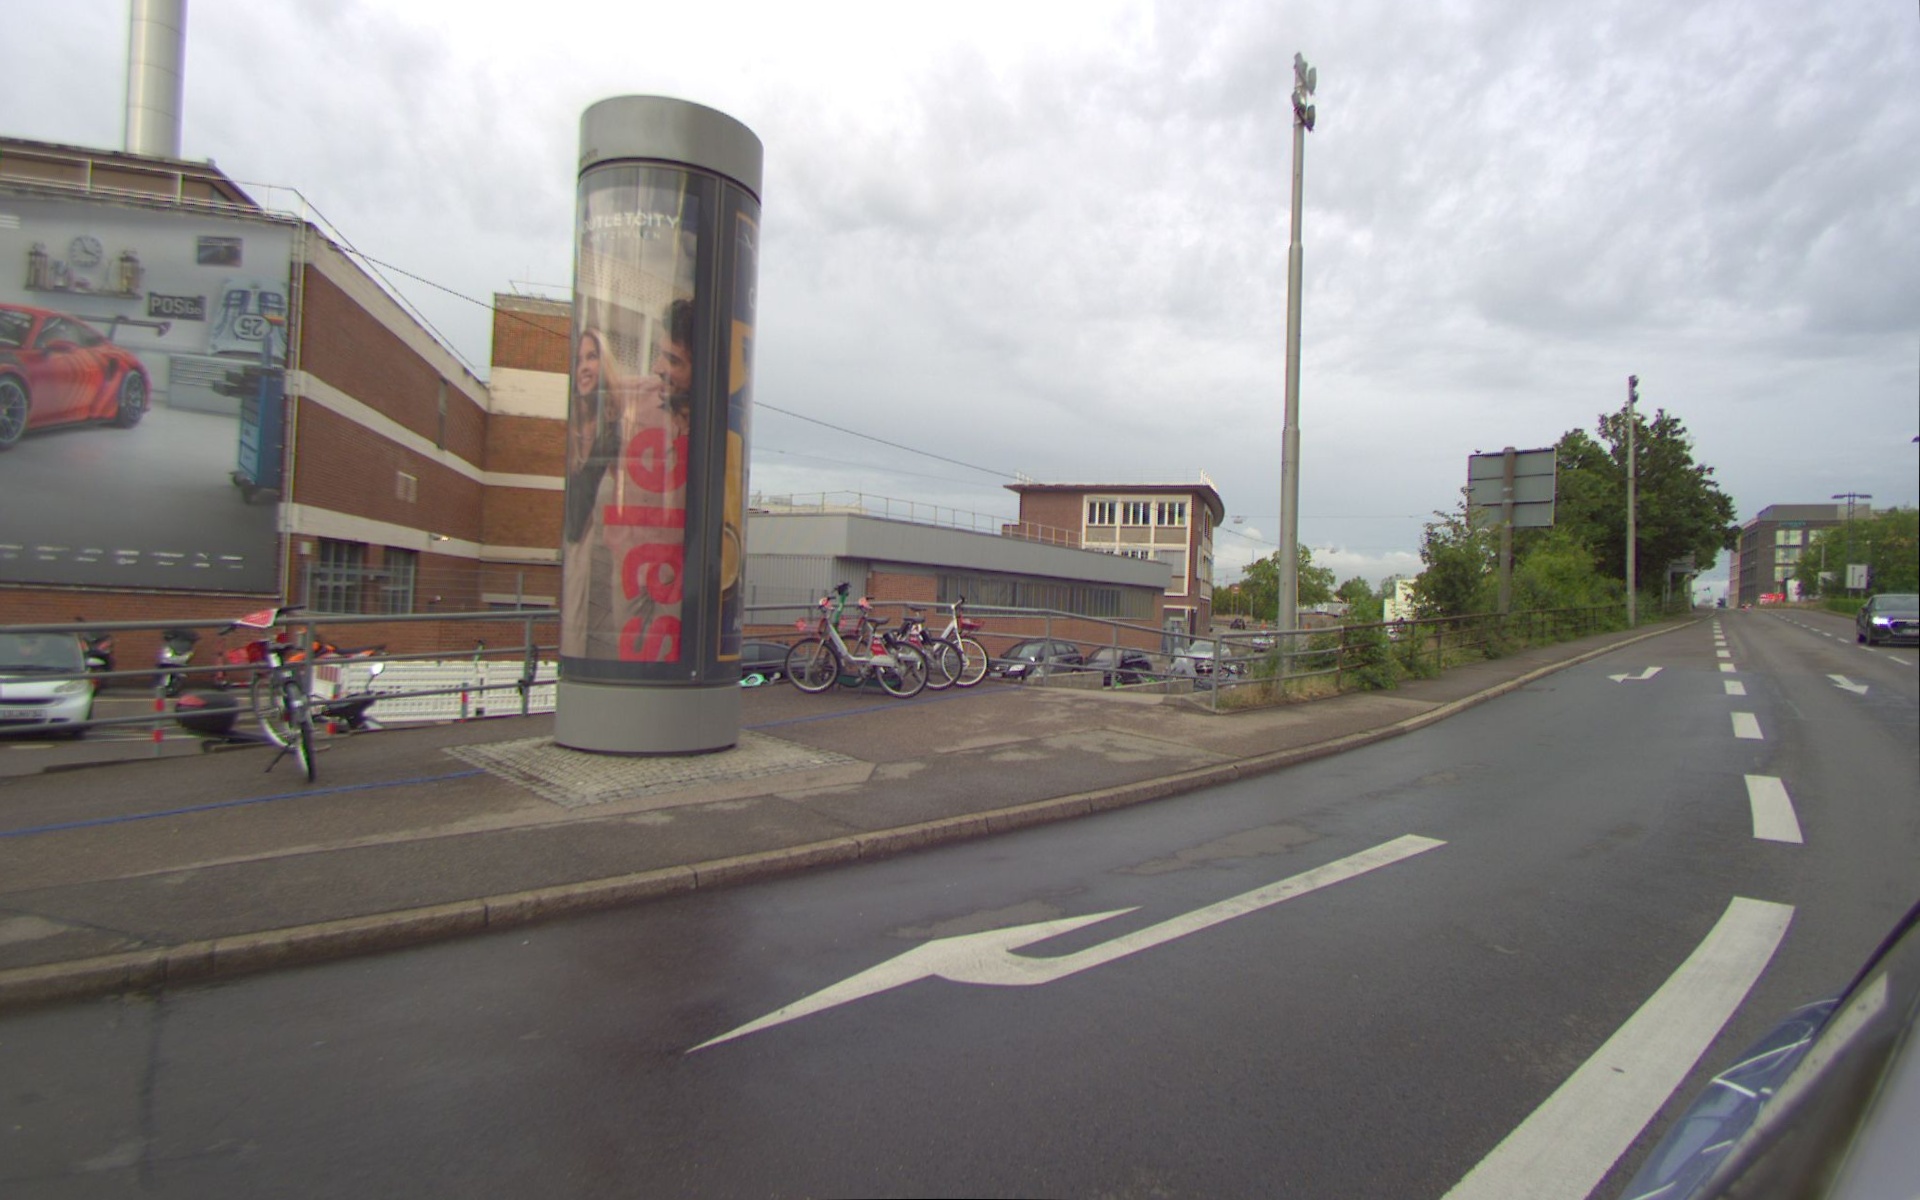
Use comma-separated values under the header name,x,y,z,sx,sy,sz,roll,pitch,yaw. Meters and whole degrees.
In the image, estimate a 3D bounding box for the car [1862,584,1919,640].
name,x,y,z,sx,sy,sz,roll,pitch,yaw
car,28.696,0.337,30.432,1.830,1.603,4.235,1,1,35

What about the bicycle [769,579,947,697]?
name,x,y,z,sx,sy,sz,roll,pitch,yaw
bicycle,-1.146,0.409,11.477,1.901,1.239,0.598,1,1,10

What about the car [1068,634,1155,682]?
name,x,y,z,sx,sy,sz,roll,pitch,yaw
car,5.876,2.171,38.935,1.694,1.574,3.805,1,1,37

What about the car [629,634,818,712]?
name,x,y,z,sx,sy,sz,roll,pitch,yaw
car,-5.435,1.648,23.731,1.694,1.630,4.204,-1,-3,37

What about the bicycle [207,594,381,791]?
name,x,y,z,sx,sy,sz,roll,pitch,yaw
bicycle,-4.769,0.577,7.195,1.799,1.176,0.583,3,2,41

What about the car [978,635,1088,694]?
name,x,y,z,sx,sy,sz,roll,pitch,yaw
car,2.545,2.110,34.198,1.629,1.652,4.371,1,1,37

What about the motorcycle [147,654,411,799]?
name,x,y,z,sx,sy,sz,roll,pitch,yaw
motorcycle,-5.721,1.011,8.593,0.696,1.002,1.726,1,0,38

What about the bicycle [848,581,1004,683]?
name,x,y,z,sx,sy,sz,roll,pitch,yaw
bicycle,-0.444,0.380,12.955,1.910,1.192,0.595,2,1,23

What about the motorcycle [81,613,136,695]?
name,x,y,z,sx,sy,sz,roll,pitch,yaw
motorcycle,-16.095,0.994,19.158,0.675,1.325,2.022,3,2,-38

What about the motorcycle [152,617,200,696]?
name,x,y,z,sx,sy,sz,roll,pitch,yaw
motorcycle,-15.280,1.077,19.749,0.562,1.325,1.873,3,2,-34

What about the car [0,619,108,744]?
name,x,y,z,sx,sy,sz,roll,pitch,yaw
car,-13.808,1.132,15.049,1.663,1.500,3.557,4,-1,-40

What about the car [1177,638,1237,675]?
name,x,y,z,sx,sy,sz,roll,pitch,yaw
car,12.369,2.788,50.579,1.692,1.574,3.809,1,1,35

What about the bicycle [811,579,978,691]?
name,x,y,z,sx,sy,sz,roll,pitch,yaw
bicycle,-0.772,0.395,12.107,1.900,1.239,0.598,1,1,8

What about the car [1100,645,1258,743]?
name,x,y,z,sx,sy,sz,roll,pitch,yaw
car,4.498,1.795,20.394,1.694,1.574,3.805,1,1,37

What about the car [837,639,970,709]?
name,x,y,z,sx,sy,sz,roll,pitch,yaw
car,-1.559,2.049,28.973,1.694,1.648,3.878,1,1,37

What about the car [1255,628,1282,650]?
name,x,y,z,sx,sy,sz,roll,pitch,yaw
car,23.324,2.927,76.494,1.648,1.413,3.971,0,0,21

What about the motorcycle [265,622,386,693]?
name,x,y,z,sx,sy,sz,roll,pitch,yaw
motorcycle,-13.008,1.183,20.821,1.943,1.325,0.932,3,1,-24
